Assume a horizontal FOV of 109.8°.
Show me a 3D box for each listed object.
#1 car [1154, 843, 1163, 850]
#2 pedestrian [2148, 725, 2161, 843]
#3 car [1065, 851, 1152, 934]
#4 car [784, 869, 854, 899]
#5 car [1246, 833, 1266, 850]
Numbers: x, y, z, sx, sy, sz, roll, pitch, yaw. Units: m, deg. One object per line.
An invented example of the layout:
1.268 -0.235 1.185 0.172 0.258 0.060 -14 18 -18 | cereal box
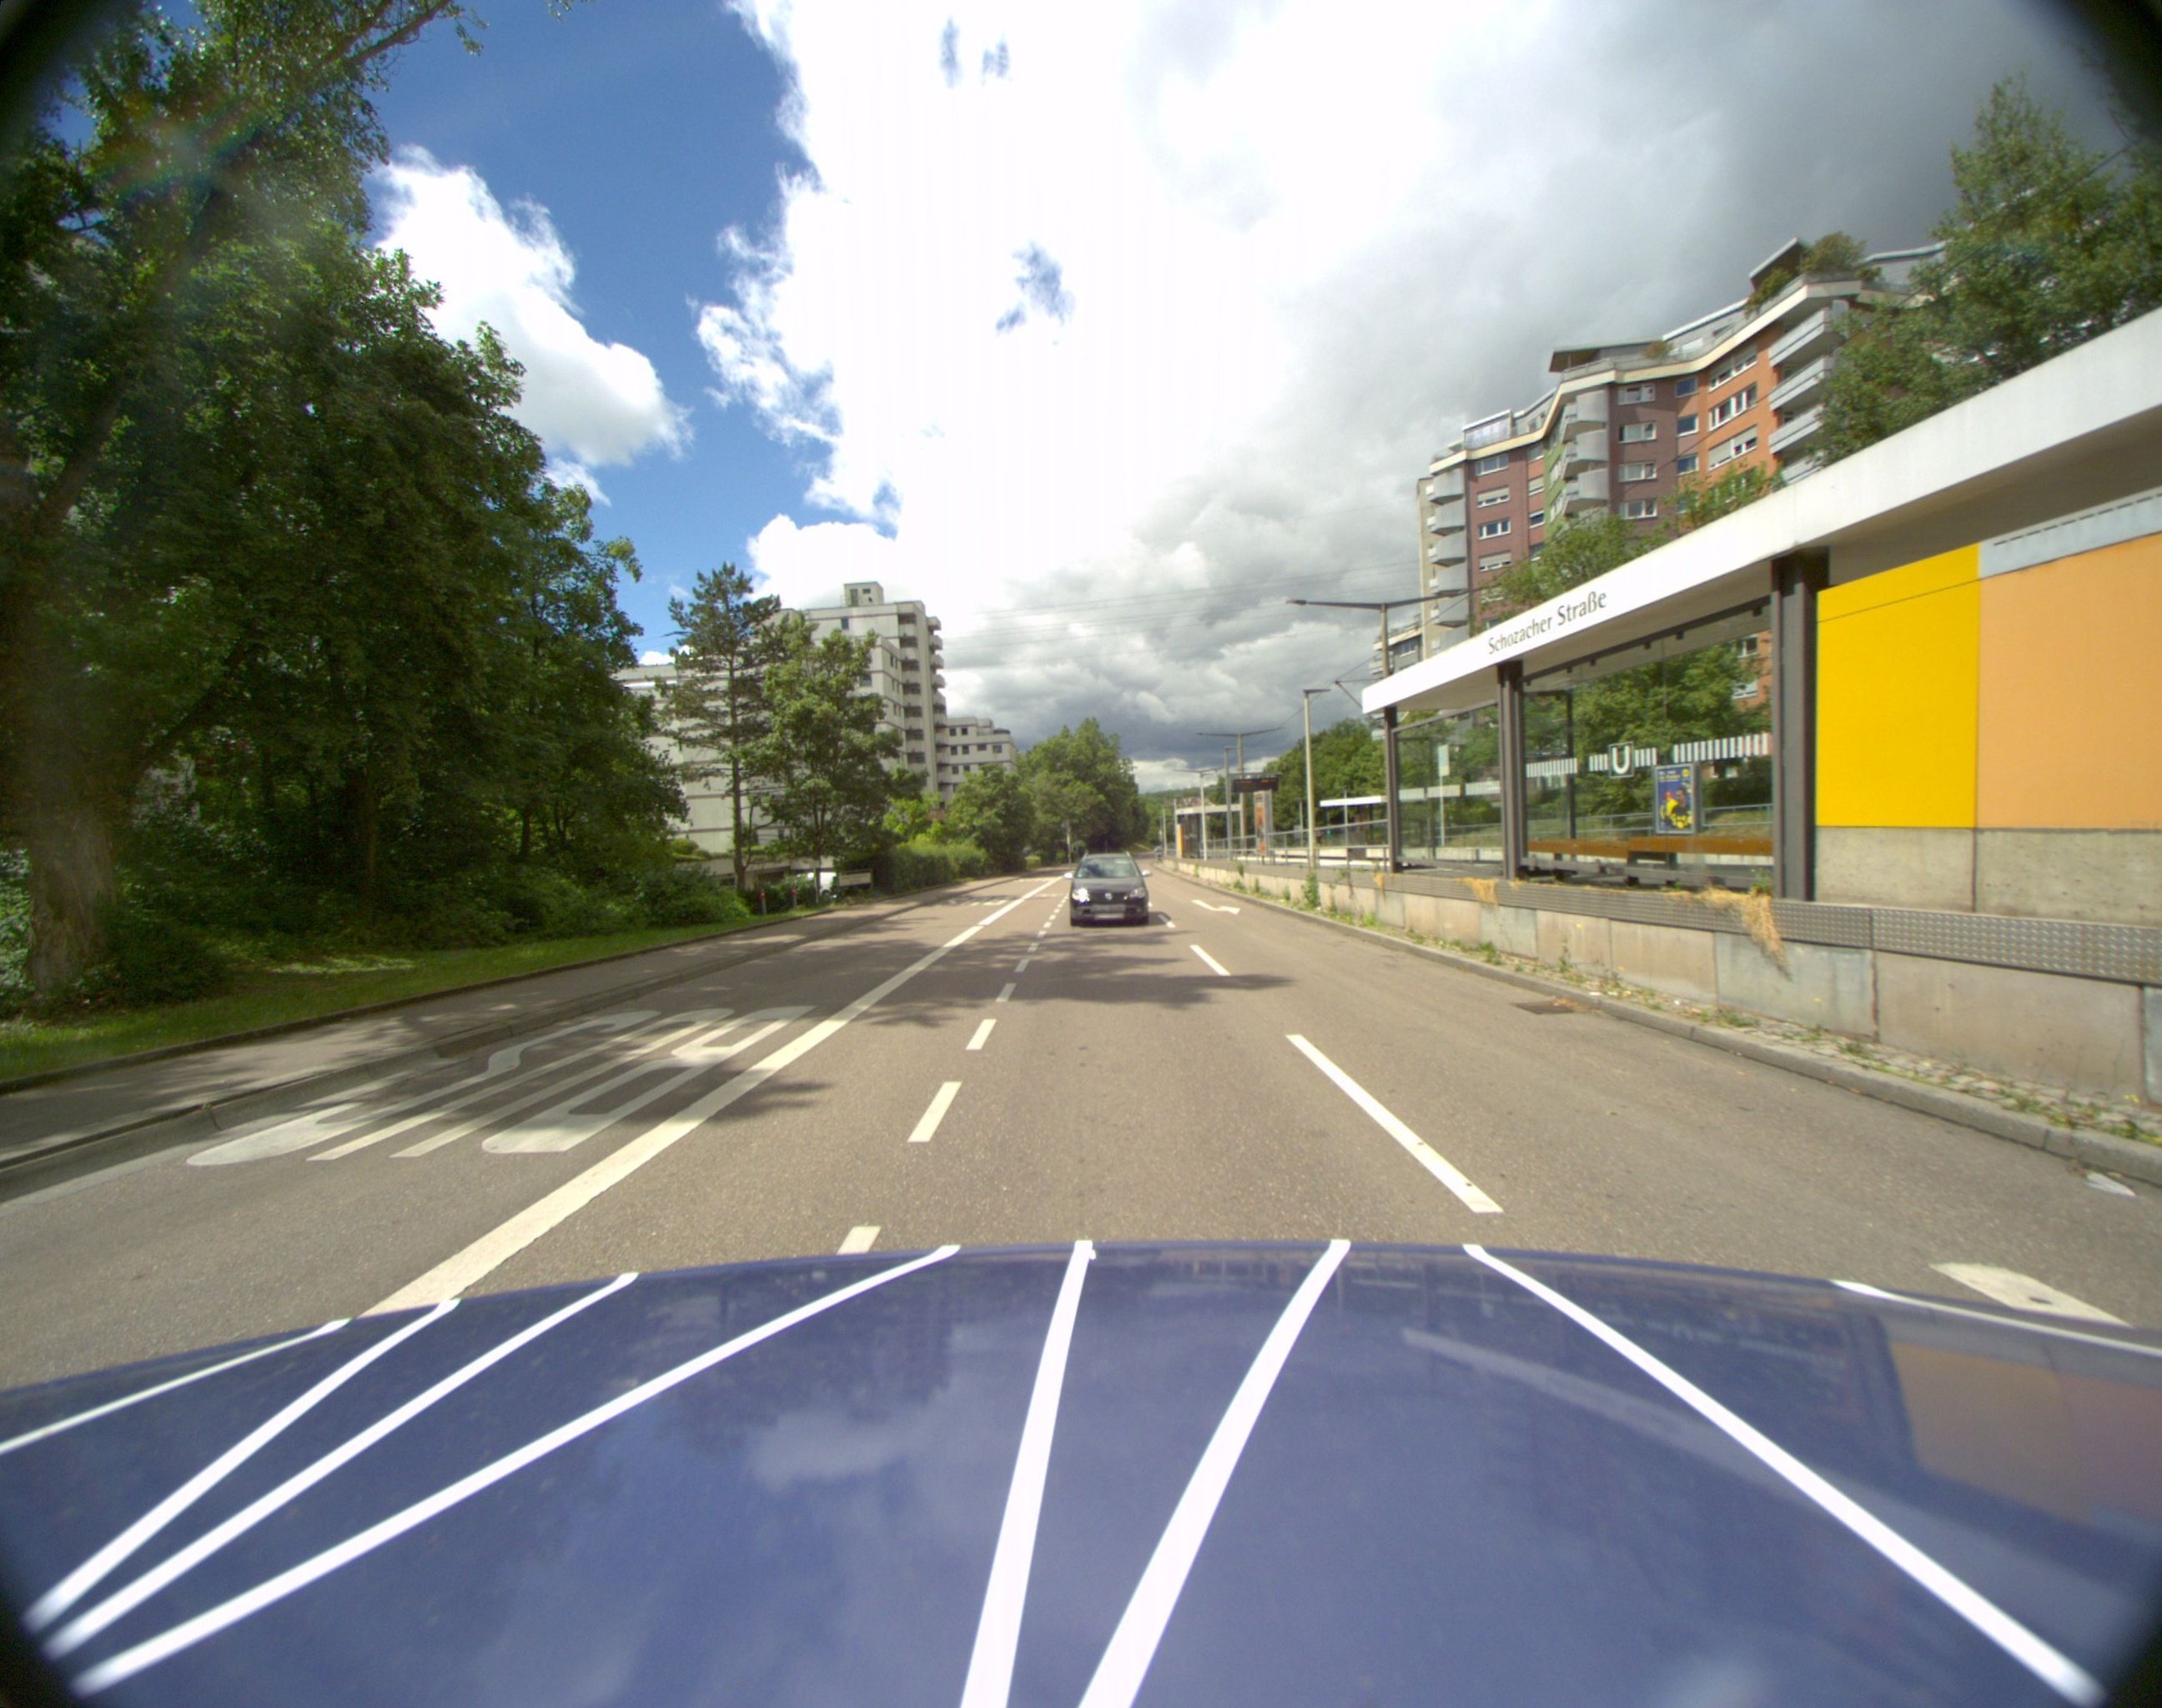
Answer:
18.590 -1.805 183.131 1.821 1.377 4.065 -2 1 2 | car
15.799 -1.015 10.957 0.354 1.703 0.426 -4 2 -41 | pedestrian
0.638 0.754 16.943 1.641 1.521 4.000 -2 1 3 | car
-19.896 2.240 57.802 4.543 2.002 2.001 -2 1 7 | car
22.148 -1.588 96.148 1.737 2.002 4.000 -2 1 2 | car
